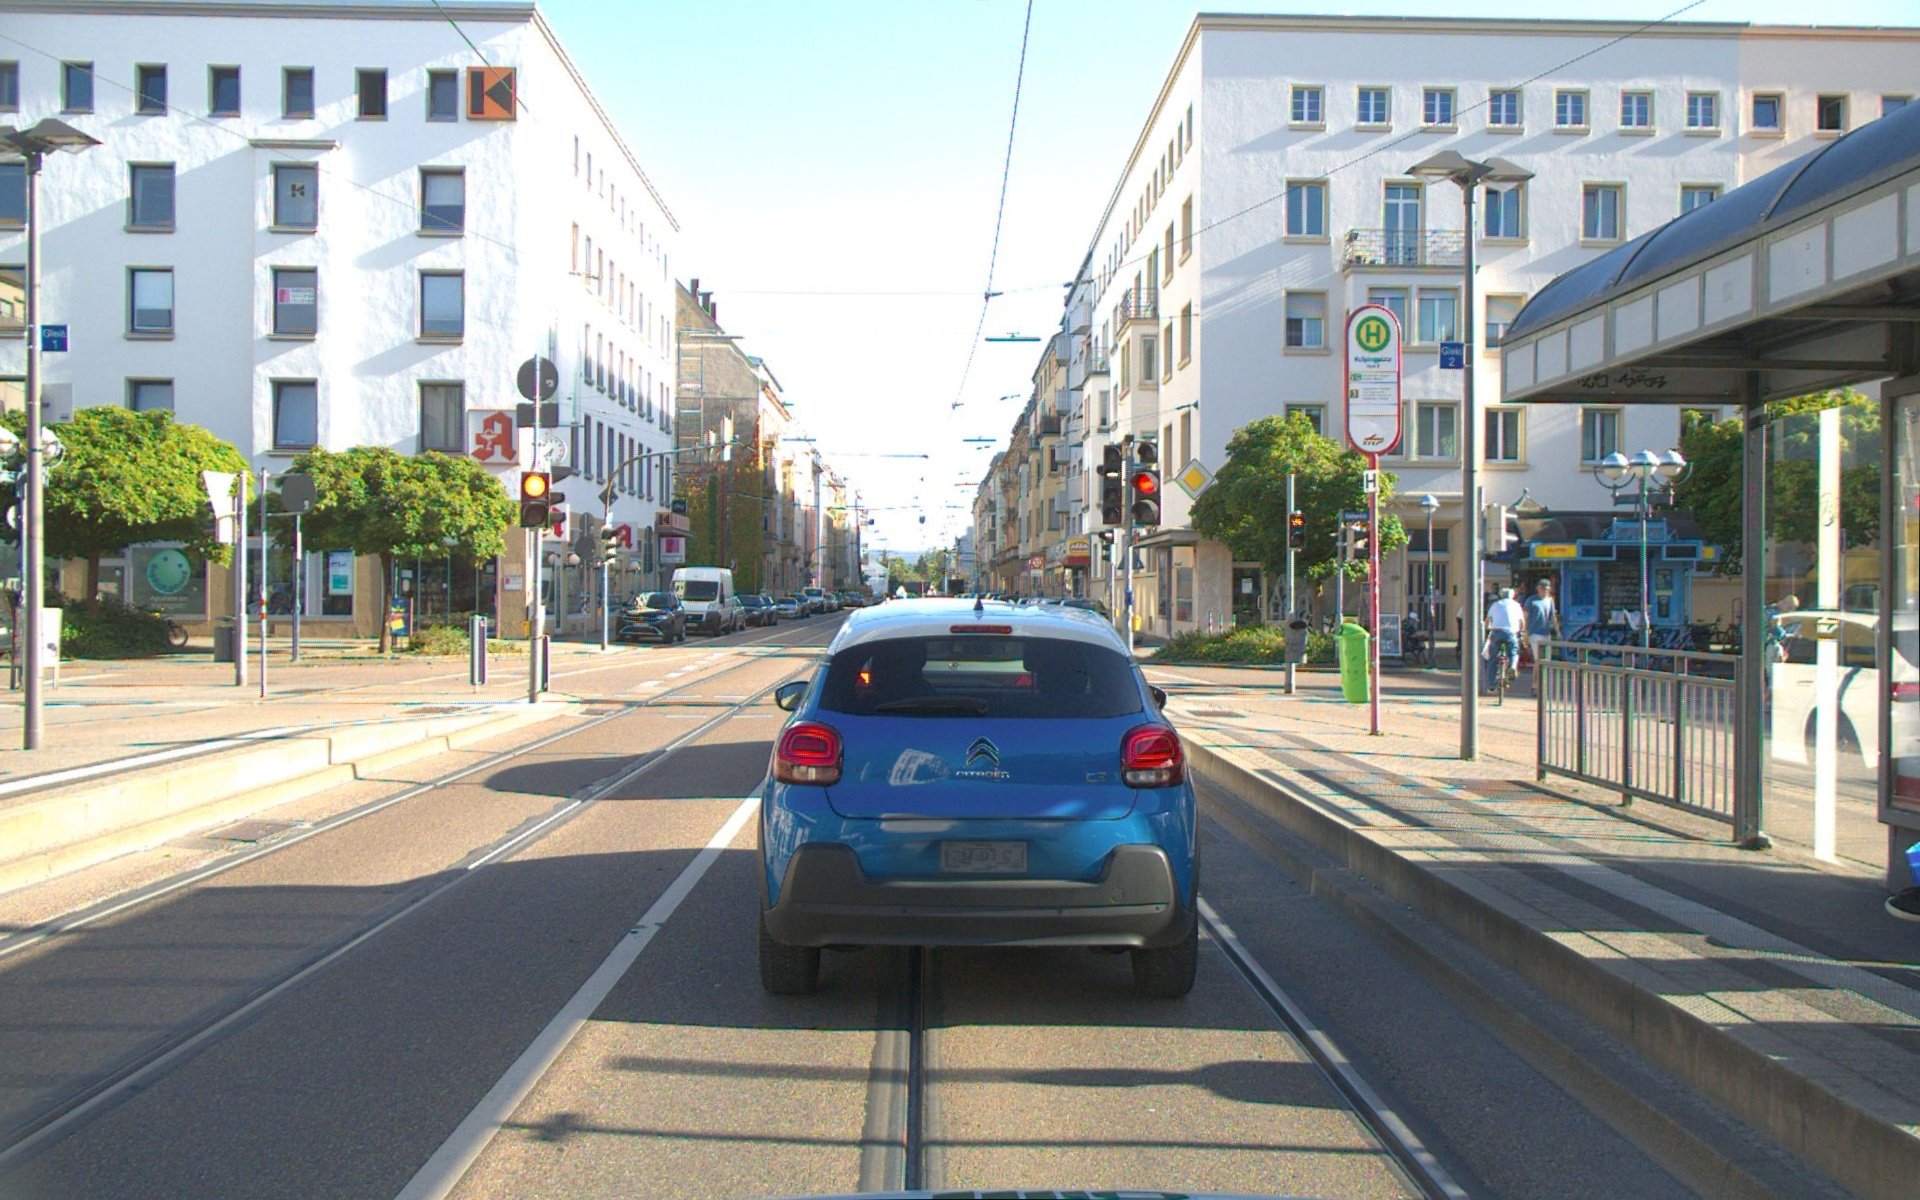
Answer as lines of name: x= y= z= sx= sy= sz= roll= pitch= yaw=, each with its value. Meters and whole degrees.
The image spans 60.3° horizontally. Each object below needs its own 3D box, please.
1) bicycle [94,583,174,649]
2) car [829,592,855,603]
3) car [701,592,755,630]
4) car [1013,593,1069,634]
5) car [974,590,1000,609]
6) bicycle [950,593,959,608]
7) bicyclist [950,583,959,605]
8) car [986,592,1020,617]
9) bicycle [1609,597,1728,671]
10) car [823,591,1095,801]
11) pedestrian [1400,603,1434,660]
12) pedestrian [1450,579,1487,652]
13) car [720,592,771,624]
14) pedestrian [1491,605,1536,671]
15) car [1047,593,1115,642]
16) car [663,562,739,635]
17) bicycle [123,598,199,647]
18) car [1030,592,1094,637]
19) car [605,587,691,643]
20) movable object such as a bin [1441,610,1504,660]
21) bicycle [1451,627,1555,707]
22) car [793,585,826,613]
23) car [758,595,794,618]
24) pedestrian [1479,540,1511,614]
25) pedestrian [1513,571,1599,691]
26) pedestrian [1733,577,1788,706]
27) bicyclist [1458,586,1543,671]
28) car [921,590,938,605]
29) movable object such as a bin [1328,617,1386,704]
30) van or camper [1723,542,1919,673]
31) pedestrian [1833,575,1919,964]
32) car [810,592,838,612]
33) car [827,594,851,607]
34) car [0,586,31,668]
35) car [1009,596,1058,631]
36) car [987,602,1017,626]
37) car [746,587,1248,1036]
bicycle: x=-21.341 y=0.401 z=42.791 sx=0.605 sy=1.635 sz=2.621 roll=0 pitch=0 yaw=3
car: x=-13.195 y=-0.251 z=184.630 sx=1.951 sy=1.176 sz=4.518 roll=0 pitch=0 yaw=8
car: x=-9.700 y=0.470 z=69.379 sx=1.850 sy=1.522 sz=3.560 roll=1 pitch=0 yaw=-2
car: x=3.047 y=0.487 z=62.973 sx=1.953 sy=1.527 sz=4.000 roll=0 pitch=0 yaw=0
car: x=2.158 y=-0.011 z=133.203 sx=1.953 sy=1.489 sz=4.000 roll=0 pitch=0 yaw=0
bicycle: x=-0.524 y=0.070 z=154.682 sx=0.901 sy=1.413 sz=3.131 roll=0 pitch=0 yaw=-1
bicyclist: x=-0.524 y=-0.532 z=154.730 sx=0.793 sy=2.049 sz=0.922 roll=1 pitch=-1 yaw=-1
car: x=2.630 y=0.274 z=102.097 sx=1.953 sy=1.489 sz=4.504 roll=0 pitch=0 yaw=0
bicycle: x=15.884 y=0.762 z=37.091 sx=2.336 sy=1.558 sz=0.726 roll=2 pitch=0 yaw=-2
car: x=-0.047 y=0.689 z=14.382 sx=1.944 sy=1.490 sz=4.814 roll=1 pitch=0 yaw=-1
pedestrian: x=10.852 y=0.742 z=39.276 sx=0.725 sy=1.339 sz=0.628 roll=0 pitch=0 yaw=22
pedestrian: x=13.112 y=0.386 z=42.650 sx=0.768 sy=1.871 sz=0.678 roll=0 pitch=0 yaw=2
car: x=-10.053 y=0.363 z=77.907 sx=1.953 sy=1.422 sz=4.155 roll=1 pitch=0 yaw=-2
pedestrian: x=12.415 y=0.847 z=37.124 sx=0.715 sy=1.434 sz=0.755 roll=0 pitch=3 yaw=-1
car: x=3.793 y=0.524 z=52.491 sx=1.870 sy=1.489 sz=4.000 roll=0 pitch=0 yaw=0
car: x=-9.743 y=-0.059 z=62.624 sx=2.043 sy=2.586 sz=6.203 roll=1 pitch=0 yaw=-2
bicycle: x=-20.632 y=0.561 z=42.777 sx=0.605 sy=1.211 sz=2.621 roll=0 pitch=0 yaw=2
car: x=3.494 y=0.481 z=57.180 sx=1.953 sy=1.489 sz=4.000 roll=0 pitch=0 yaw=0
car: x=-9.796 y=0.465 z=52.261 sx=1.953 sy=1.596 sz=4.401 roll=3 pitch=0 yaw=-2
movable object such as a bin: x=12.517 y=0.845 z=40.431 sx=1.174 sy=1.173 sz=1.217 roll=0 pitch=0 yaw=0
bicycle: x=8.198 y=0.994 z=25.066 sx=0.704 sy=1.080 sz=2.322 roll=2 pitch=0 yaw=-2
car: x=-11.497 y=-0.061 z=126.540 sx=1.965 sy=2.049 sz=4.690 roll=1 pitch=0 yaw=1
car: x=-11.443 y=0.387 z=103.032 sx=1.953 sy=1.348 sz=3.921 roll=1 pitch=0 yaw=-2
pedestrian: x=13.609 y=-0.581 z=42.080 sx=0.639 sy=1.871 sz=0.659 roll=0 pitch=0 yaw=2
pedestrian: x=9.744 y=0.508 z=27.088 sx=0.961 sy=1.910 sz=1.128 roll=0 pitch=-1 yaw=-3
pedestrian: x=11.161 y=0.575 z=23.066 sx=0.546 sy=1.775 sz=0.527 roll=1 pitch=-1 yaw=10
bicyclist: x=8.213 y=0.425 z=25.148 sx=0.932 sy=1.247 sz=0.933 roll=2 pitch=0 yaw=-2
car: x=-3.615 y=-0.310 z=193.953 sx=1.953 sy=1.803 sz=3.999 roll=0 pitch=0 yaw=-1
movable object such as a bin: x=3.731 y=0.563 z=15.544 sx=0.439 sy=0.800 sz=0.489 roll=0 pitch=0 yaw=2
van or camper: x=20.974 y=0.133 z=36.722 sx=6.976 sy=2.795 sz=2.371 roll=0 pitch=1 yaw=0
pedestrian: x=3.584 y=0.568 z=5.350 sx=0.978 sy=1.246 sz=0.923 roll=3 pitch=-1 yaw=-1
car: x=-11.205 y=0.207 z=136.459 sx=1.914 sy=1.579 sz=3.939 roll=1 pitch=0 yaw=1
car: x=-11.264 y=0.027 z=153.848 sx=1.953 sy=1.176 sz=4.000 roll=0 pitch=0 yaw=0
car: x=-22.393 y=0.569 z=35.430 sx=3.906 sy=1.736 sz=1.825 roll=0 pitch=0 yaw=-2
car: x=3.230 y=0.587 z=73.245 sx=1.953 sy=1.489 sz=4.000 roll=0 pitch=0 yaw=0
car: x=2.781 y=0.898 z=109.203 sx=1.952 sy=1.579 sz=4.000 roll=0 pitch=0 yaw=1
car: x=0.097 y=0.720 z=7.577 sx=1.693 sy=1.508 sz=3.826 roll=1 pitch=0 yaw=-1
